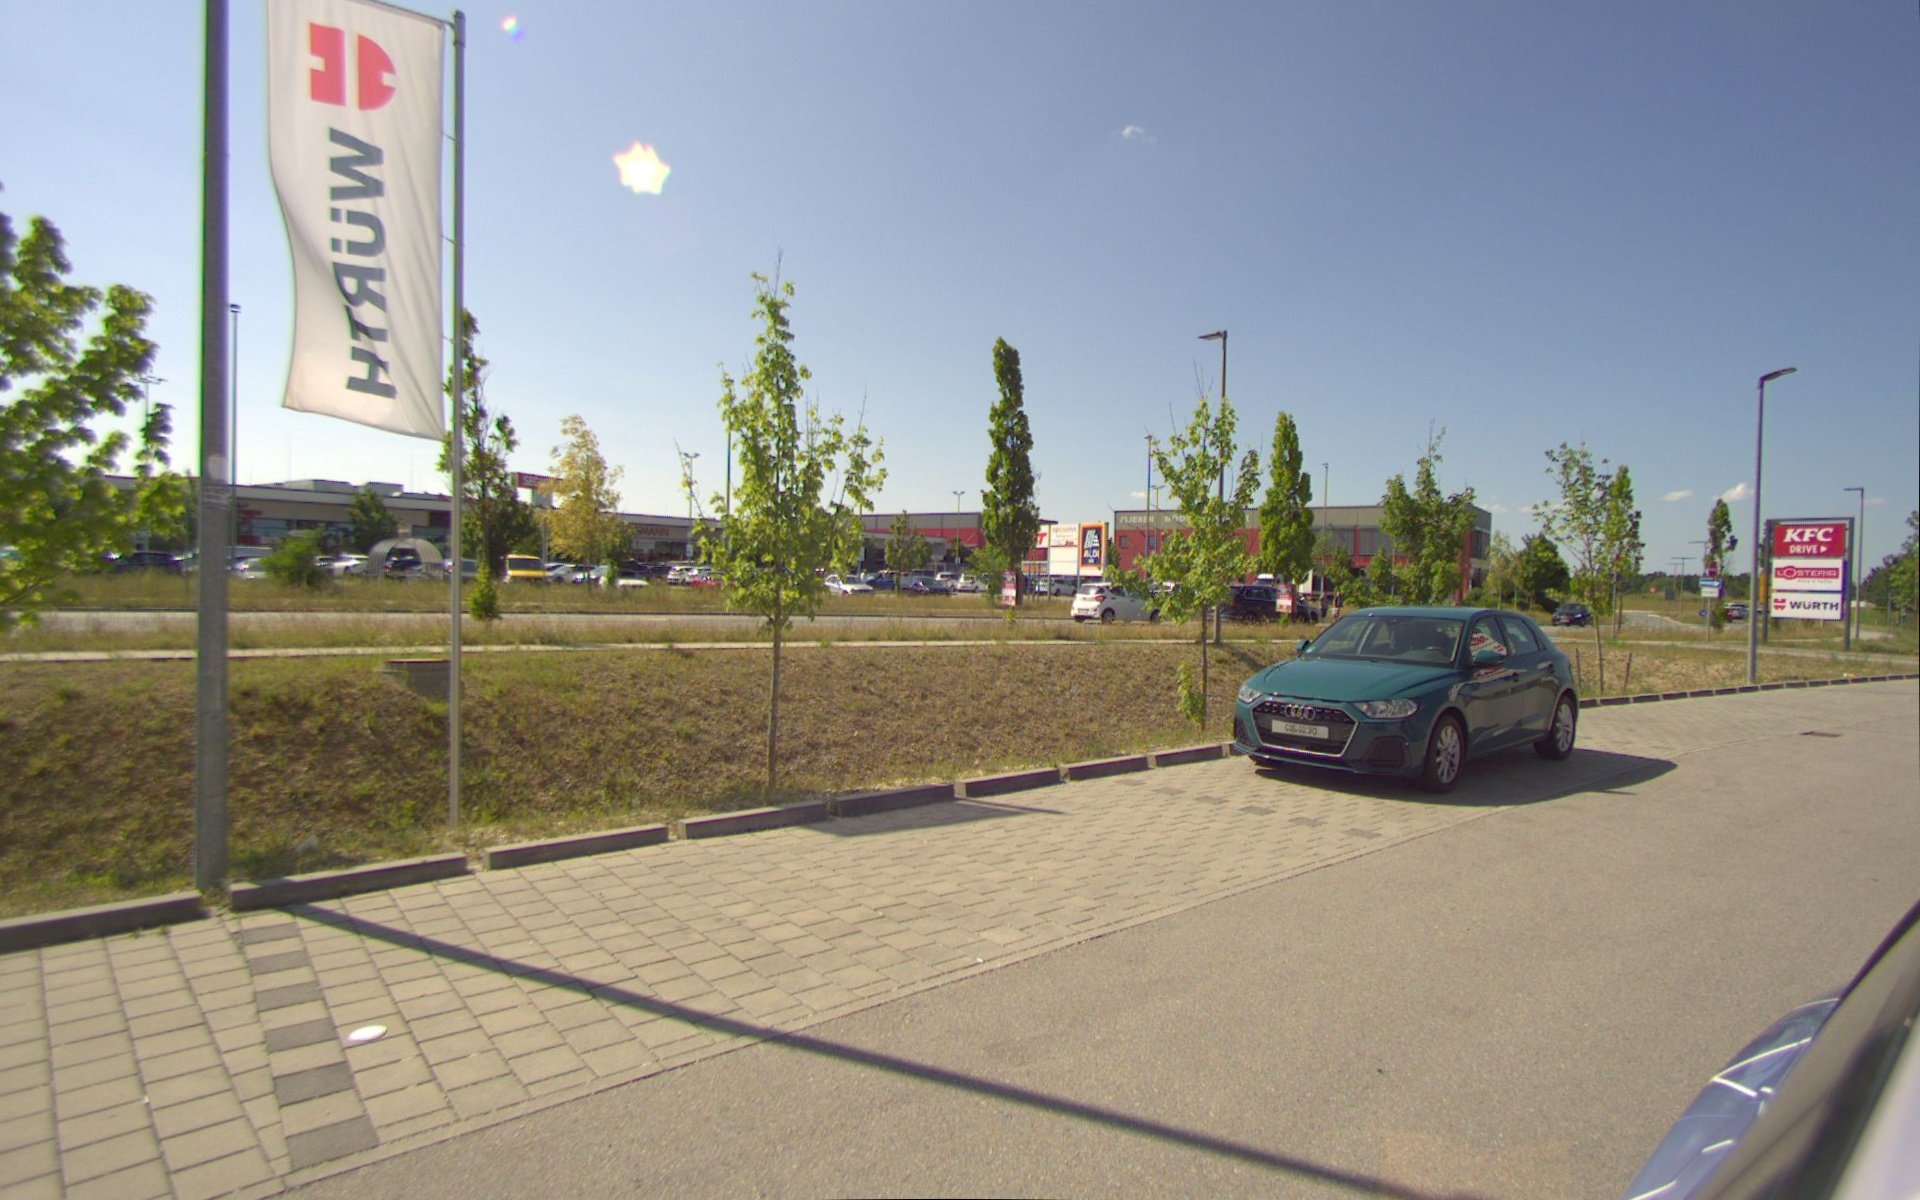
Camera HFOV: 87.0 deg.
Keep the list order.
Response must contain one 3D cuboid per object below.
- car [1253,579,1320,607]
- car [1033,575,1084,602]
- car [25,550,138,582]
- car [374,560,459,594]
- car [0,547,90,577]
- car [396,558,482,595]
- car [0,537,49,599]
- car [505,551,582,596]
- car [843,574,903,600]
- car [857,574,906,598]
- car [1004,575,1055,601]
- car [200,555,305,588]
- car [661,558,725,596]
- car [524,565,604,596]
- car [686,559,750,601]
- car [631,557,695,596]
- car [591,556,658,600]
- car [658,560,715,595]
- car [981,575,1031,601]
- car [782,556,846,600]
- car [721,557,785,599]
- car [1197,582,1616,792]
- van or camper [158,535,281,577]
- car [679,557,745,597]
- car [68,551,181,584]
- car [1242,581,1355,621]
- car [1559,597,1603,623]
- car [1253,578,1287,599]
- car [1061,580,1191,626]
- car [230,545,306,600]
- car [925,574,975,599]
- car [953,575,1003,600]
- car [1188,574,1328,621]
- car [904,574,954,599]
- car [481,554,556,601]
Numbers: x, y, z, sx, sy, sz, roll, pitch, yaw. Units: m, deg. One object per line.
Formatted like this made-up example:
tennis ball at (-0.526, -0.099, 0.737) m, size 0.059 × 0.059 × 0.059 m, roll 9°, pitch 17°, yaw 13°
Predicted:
car at (24.942, -0.571, 77.421) m, size 1.965 × 2.063 × 4.478 m, roll 1°, pitch 1°, yaw -41°
car at (7.822, -0.890, 79.873) m, size 1.989 × 2.063 × 4.425 m, roll 1°, pitch 1°, yaw 37°
car at (-40.799, -1.569, 47.060) m, size 1.720 × 1.408 × 3.687 m, roll 2°, pitch 2°, yaw 34°
car at (-35.151, -1.466, 65.496) m, size 1.992 × 2.129 × 4.418 m, roll 1°, pitch 1°, yaw 41°
car at (-45.801, -1.877, 50.220) m, size 1.720 × 1.408 × 3.687 m, roll 2°, pitch 2°, yaw 34°
car at (-32.687, -1.446, 63.627) m, size 1.984 × 2.219 × 4.435 m, roll 1°, pitch 1°, yaw 31°
car at (-33.496, -1.141, 35.362) m, size 2.125 × 2.038 × 5.112 m, roll 0°, pitch 2°, yaw -39°
car at (-27.598, -1.725, 67.224) m, size 1.984 × 2.857 × 4.435 m, roll 1°, pitch 1°, yaw 31°
car at (-6.274, -0.919, 73.528) m, size 1.989 × 1.806 × 4.257 m, roll 1°, pitch 1°, yaw 37°
car at (-7.008, -1.275, 90.787) m, size 1.989 × 2.063 × 4.425 m, roll 1°, pitch 1°, yaw 37°
car at (5.660, -0.948, 81.670) m, size 1.989 × 2.063 × 4.425 m, roll 1°, pitch 1°, yaw 37°
car at (-35.512, -1.410, 50.867) m, size 1.865 × 1.527 × 3.944 m, roll 1°, pitch 1°, yaw 38°
car at (-20.281, -1.725, 77.110) m, size 1.989 × 2.857 × 4.425 m, roll 1°, pitch 1°, yaw 37°
car at (-25.523, -1.230, 65.326) m, size 1.989 × 1.886 × 4.425 m, roll 1°, pitch 1°, yaw 37°
car at (-12.635, -1.067, 52.646) m, size 1.847 × 2.039 × 4.140 m, roll 1°, pitch 1°, yaw -34°
car at (-22.890, -1.780, 78.026) m, size 1.989 × 2.857 × 4.425 m, roll 1°, pitch 1°, yaw 37°
car at (-16.577, -1.104, 49.883) m, size 1.907 × 2.039 × 4.410 m, roll 1°, pitch 1°, yaw -36°
car at (-23.427, -1.900, 86.936) m, size 1.989 × 2.857 × 4.425 m, roll 1°, pitch 1°, yaw 37°
car at (3.819, -1.005, 83.682) m, size 1.989 × 2.063 × 4.425 m, roll 1°, pitch 1°, yaw 37°
car at (-9.842, -1.442, 68.491) m, size 1.984 × 2.857 × 4.435 m, roll 1°, pitch 1°, yaw 31°
car at (-14.549, -1.556, 71.290) m, size 1.984 × 2.857 × 4.435 m, roll 1°, pitch 1°, yaw 31°
car at (4.217, 0.628, 9.275) m, size 4.151 × 1.467 × 1.844 m, roll 1°, pitch 1°, yaw -40°
van or camper at (-39.662, -2.317, 54.301) m, size 1.991 × 2.038 × 4.980 m, roll 3°, pitch 1°, yaw 39°
car at (-18.315, -1.664, 74.862) m, size 1.989 × 2.857 × 4.425 m, roll 1°, pitch 1°, yaw 37°
car at (-38.130, -1.475, 46.251) m, size 1.720 × 1.408 × 3.687 m, roll 2°, pitch 2°, yaw 34°
car at (14.177, 0.038, 42.354) m, size 4.666 × 1.571 × 1.948 m, roll 1°, pitch 1°, yaw -31°
car at (39.407, 0.636, 64.198) m, size 1.820 × 1.560 × 3.942 m, roll 2°, pitch 1°, yaw 40°
car at (32.521, -1.208, 106.055) m, size 1.989 × 2.063 × 4.425 m, roll 1°, pitch 1°, yaw 37°
car at (6.108, 0.099, 37.125) m, size 4.670 × 1.571 × 1.947 m, roll 1°, pitch 1°, yaw -35°
car at (-27.780, -1.110, 40.534) m, size 2.125 × 2.038 × 5.112 m, roll 0°, pitch 2°, yaw -39°
car at (-0.791, -1.117, 86.503) m, size 1.989 × 2.063 × 4.425 m, roll 1°, pitch 1°, yaw 37°
car at (1.524, -1.059, 84.968) m, size 1.989 × 2.063 × 4.425 m, roll 1°, pitch 1°, yaw 37°
car at (10.452, -0.075, 35.456) m, size 4.664 × 1.571 × 1.949 m, roll 1°, pitch 1°, yaw -29°
car at (-2.668, -1.168, 88.007) m, size 1.989 × 2.063 × 4.425 m, roll 1°, pitch 1°, yaw 37°
car at (-20.468, -1.064, 46.773) m, size 2.124 × 2.038 × 5.116 m, roll 0°, pitch 1°, yaw -36°
